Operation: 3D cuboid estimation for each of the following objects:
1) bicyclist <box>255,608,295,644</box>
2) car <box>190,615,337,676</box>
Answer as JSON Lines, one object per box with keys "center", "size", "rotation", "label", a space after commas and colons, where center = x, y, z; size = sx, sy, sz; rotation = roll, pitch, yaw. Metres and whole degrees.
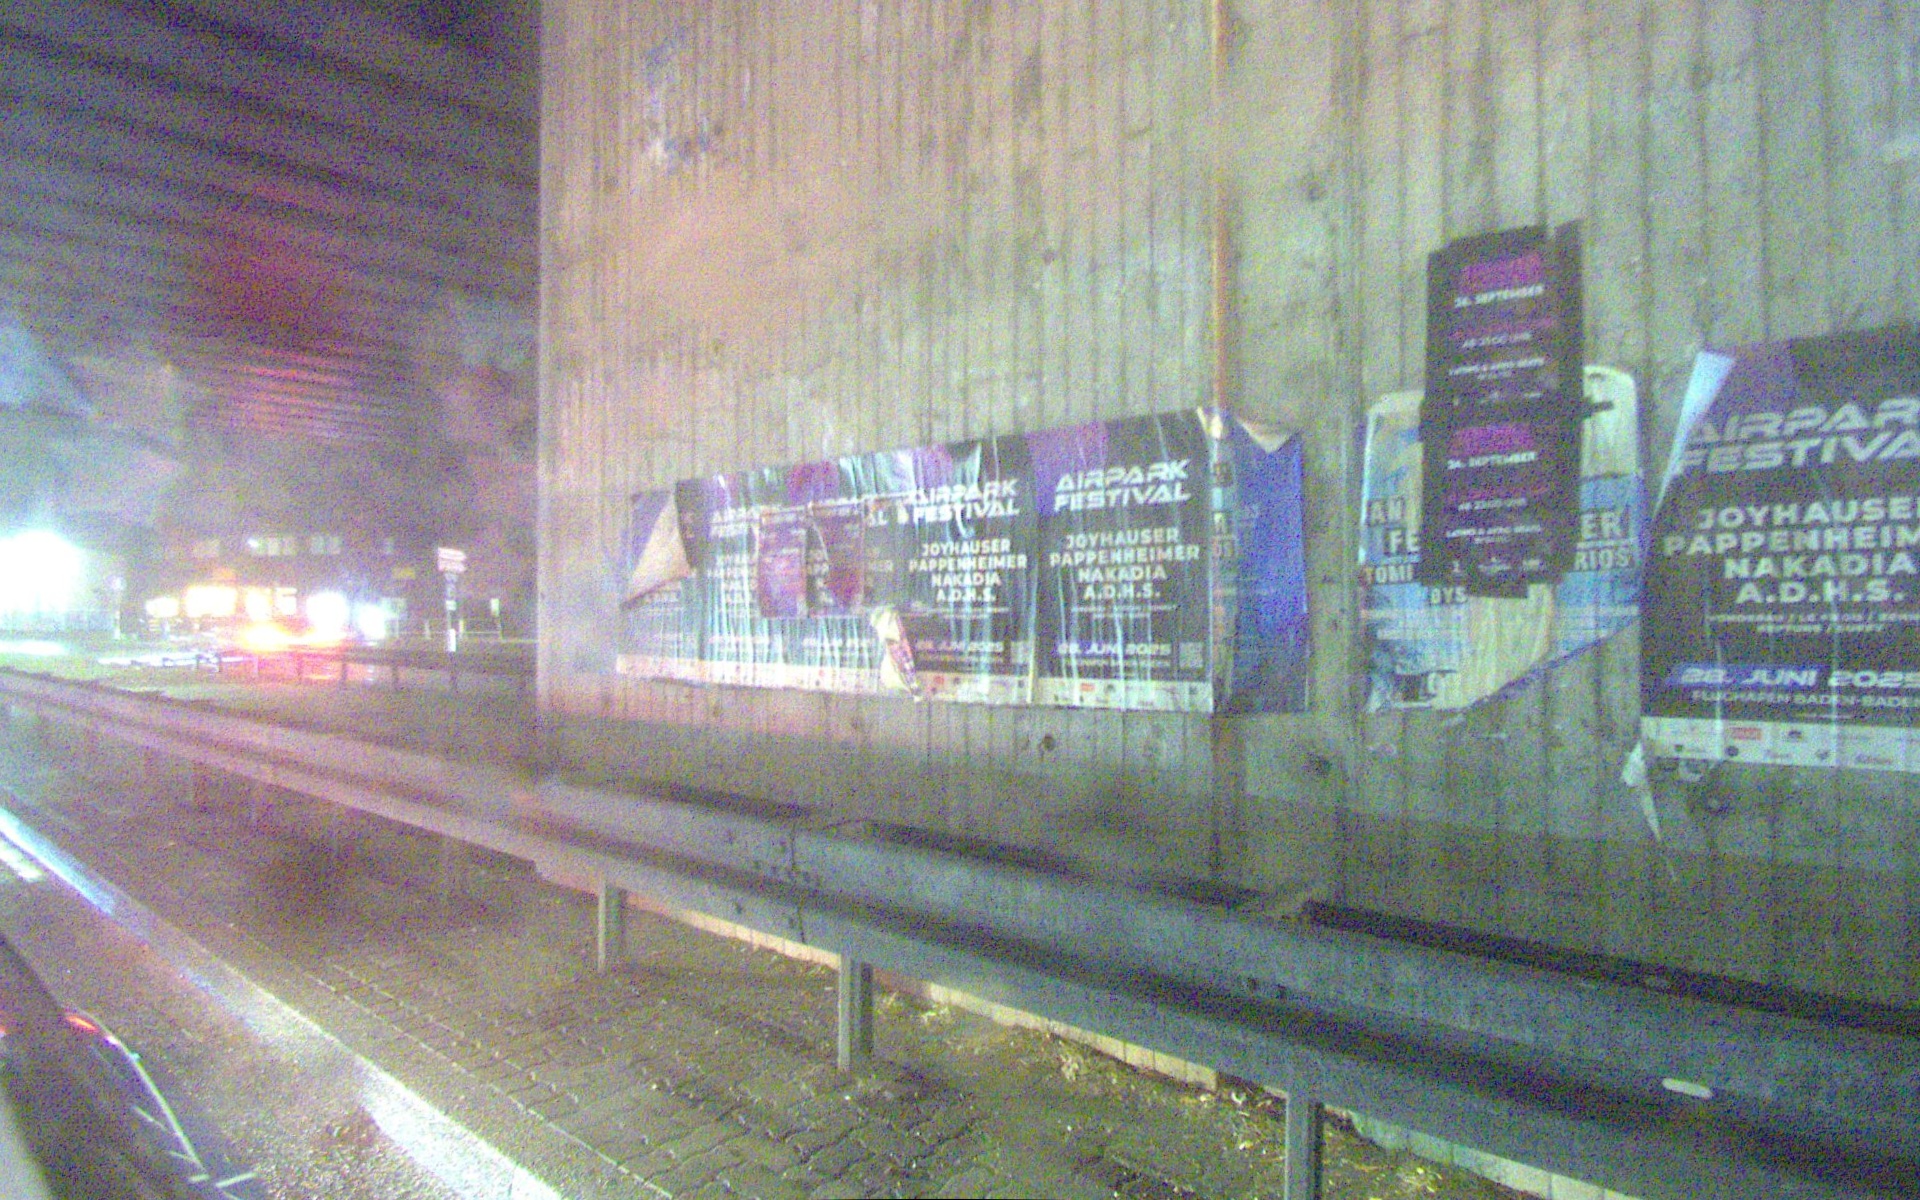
{"center": [-27.991, 1.071, 41.389], "size": [1.169, 1.446, 0.630], "rotation": [1, -2, -8], "label": "bicyclist"}
{"center": [-18.647, 1.163, 27.037], "size": [4.415, 1.475, 1.809], "rotation": [0, -1, 35], "label": "car"}
